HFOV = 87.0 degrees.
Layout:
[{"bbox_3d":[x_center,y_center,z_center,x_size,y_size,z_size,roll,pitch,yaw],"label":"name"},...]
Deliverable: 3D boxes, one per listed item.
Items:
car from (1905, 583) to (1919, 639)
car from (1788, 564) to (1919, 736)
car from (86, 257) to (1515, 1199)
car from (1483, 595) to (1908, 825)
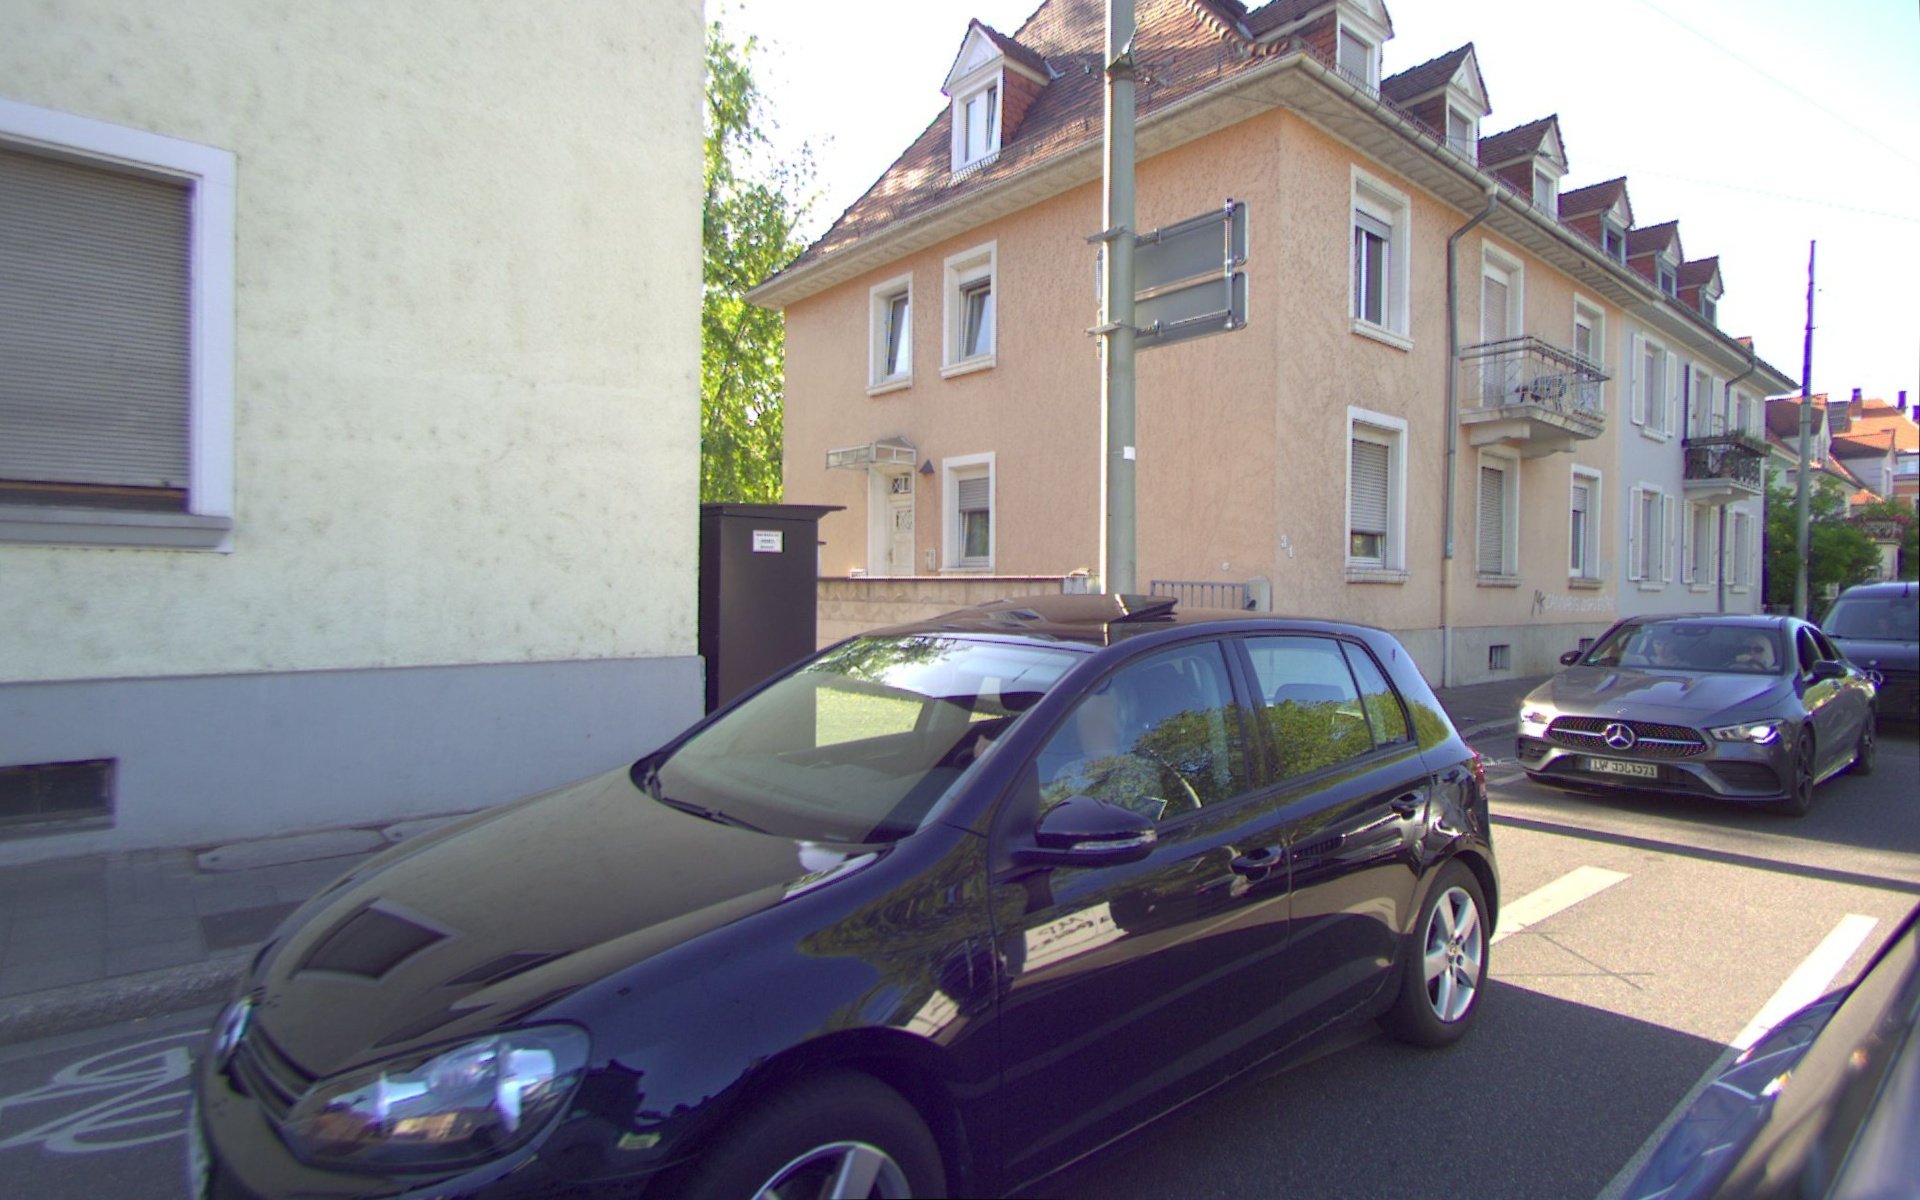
[{"bbox_3d":[27.264,0.263,27.557,3.930,1.476,1.839,-1,0,-41],"label":"car"},{"bbox_3d":[11.826,0.503,12.374,4.695,1.827,1.864,-1,0,-41],"label":"car"},{"bbox_3d":[-0.016,0.422,3.092,3.979,1.527,1.731,2,-1,-41],"label":"car"},{"bbox_3d":[6.412,0.696,8.629,4.413,1.437,1.911,-1,0,-40],"label":"car"}]
